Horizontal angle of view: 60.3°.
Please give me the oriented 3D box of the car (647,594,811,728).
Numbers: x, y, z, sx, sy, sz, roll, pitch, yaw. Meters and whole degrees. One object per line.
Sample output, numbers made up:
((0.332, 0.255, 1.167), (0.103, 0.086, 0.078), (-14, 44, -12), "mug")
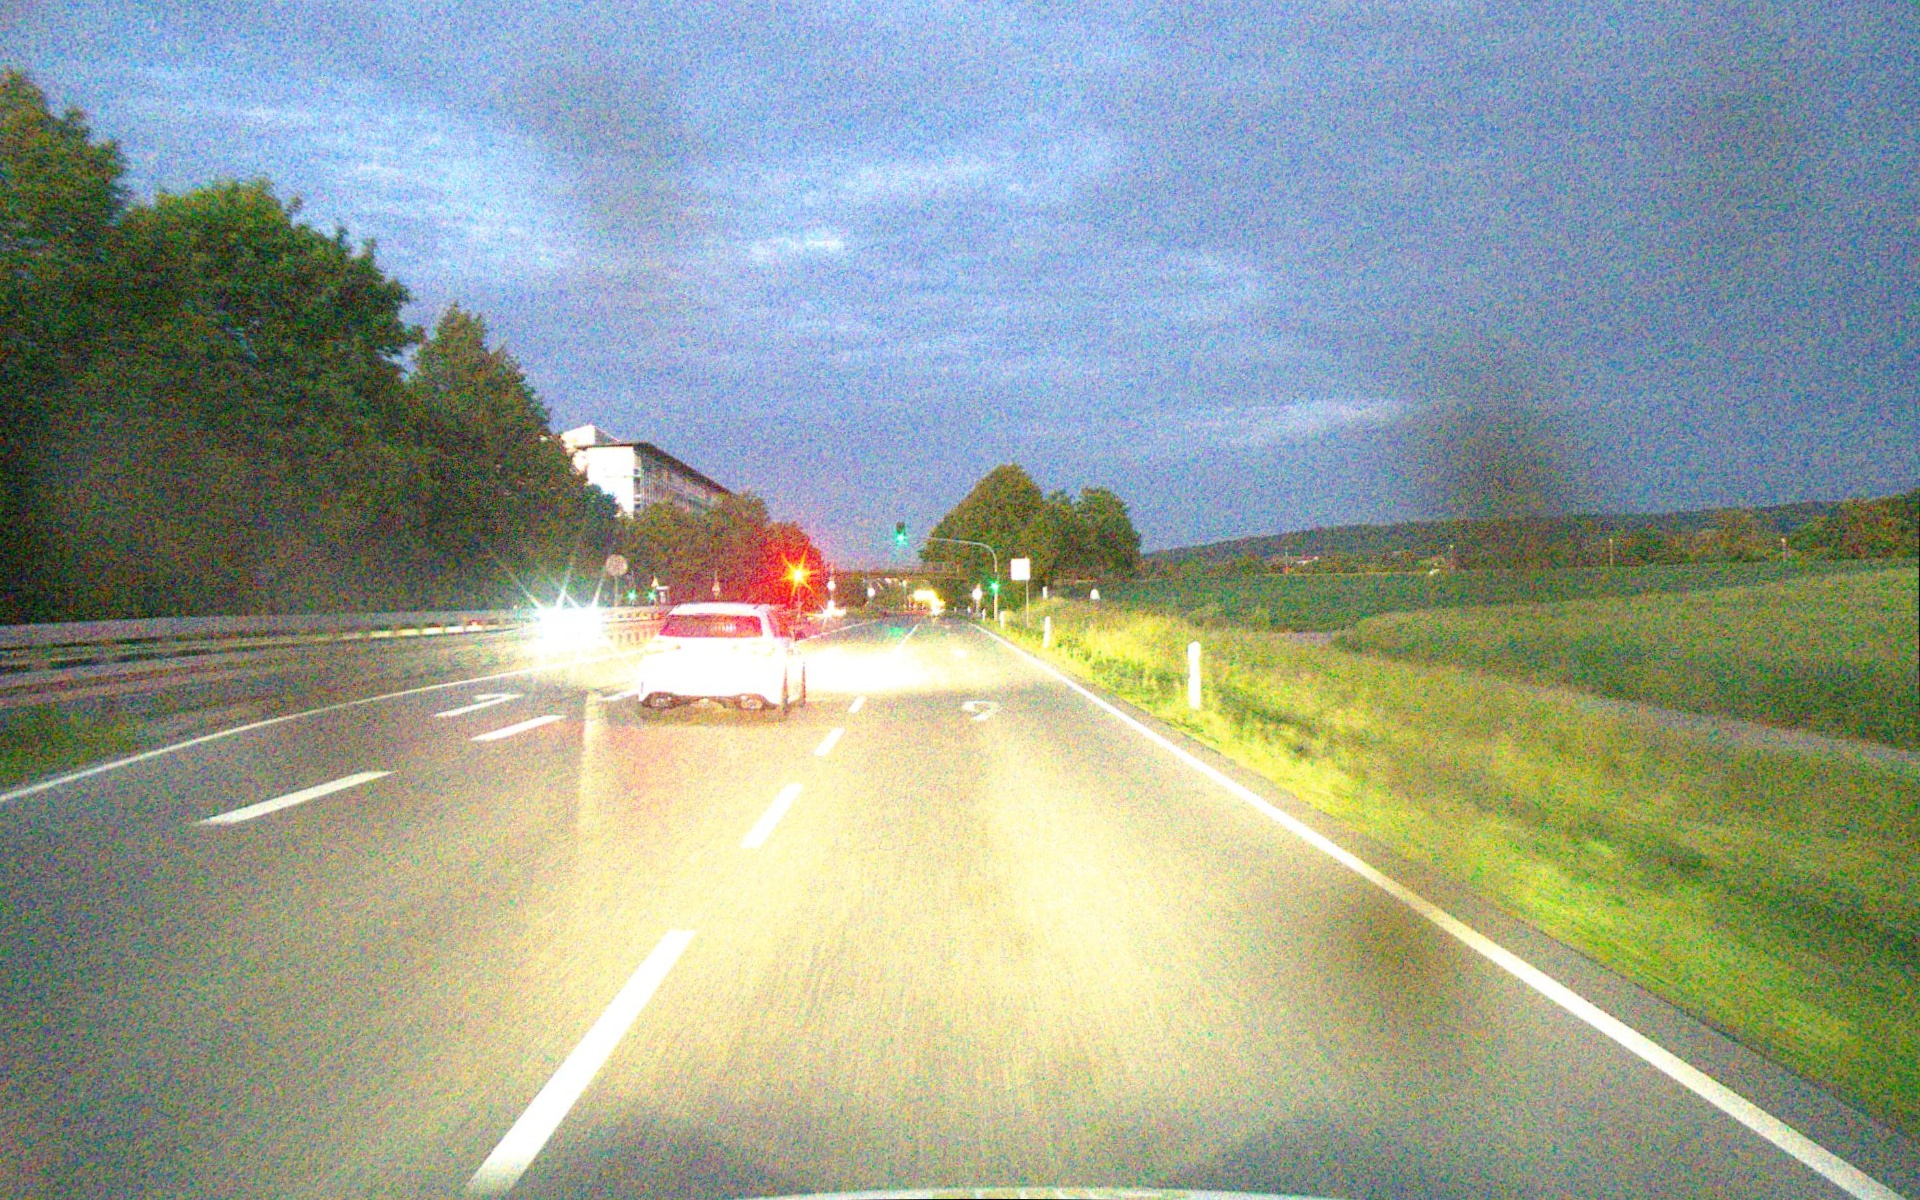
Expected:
((-2.875, 0.702, 21.406), (1.609, 1.516, 4.578), (1, 0, -2), "car")

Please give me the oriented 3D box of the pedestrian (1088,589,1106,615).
((9.474, 0.126, 114.517), (1.068, 1.753, 1.260), (1, 0, -2), "pedestrian")

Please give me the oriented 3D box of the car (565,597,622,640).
((-15.684, 0.781, 70.978), (1.581, 1.753, 4.314), (1, 0, -2), "car")

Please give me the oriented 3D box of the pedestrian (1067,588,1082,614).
((7.925, 0.058, 114.688), (0.903, 1.824, 1.106), (1, 0, -1), "pedestrian")
